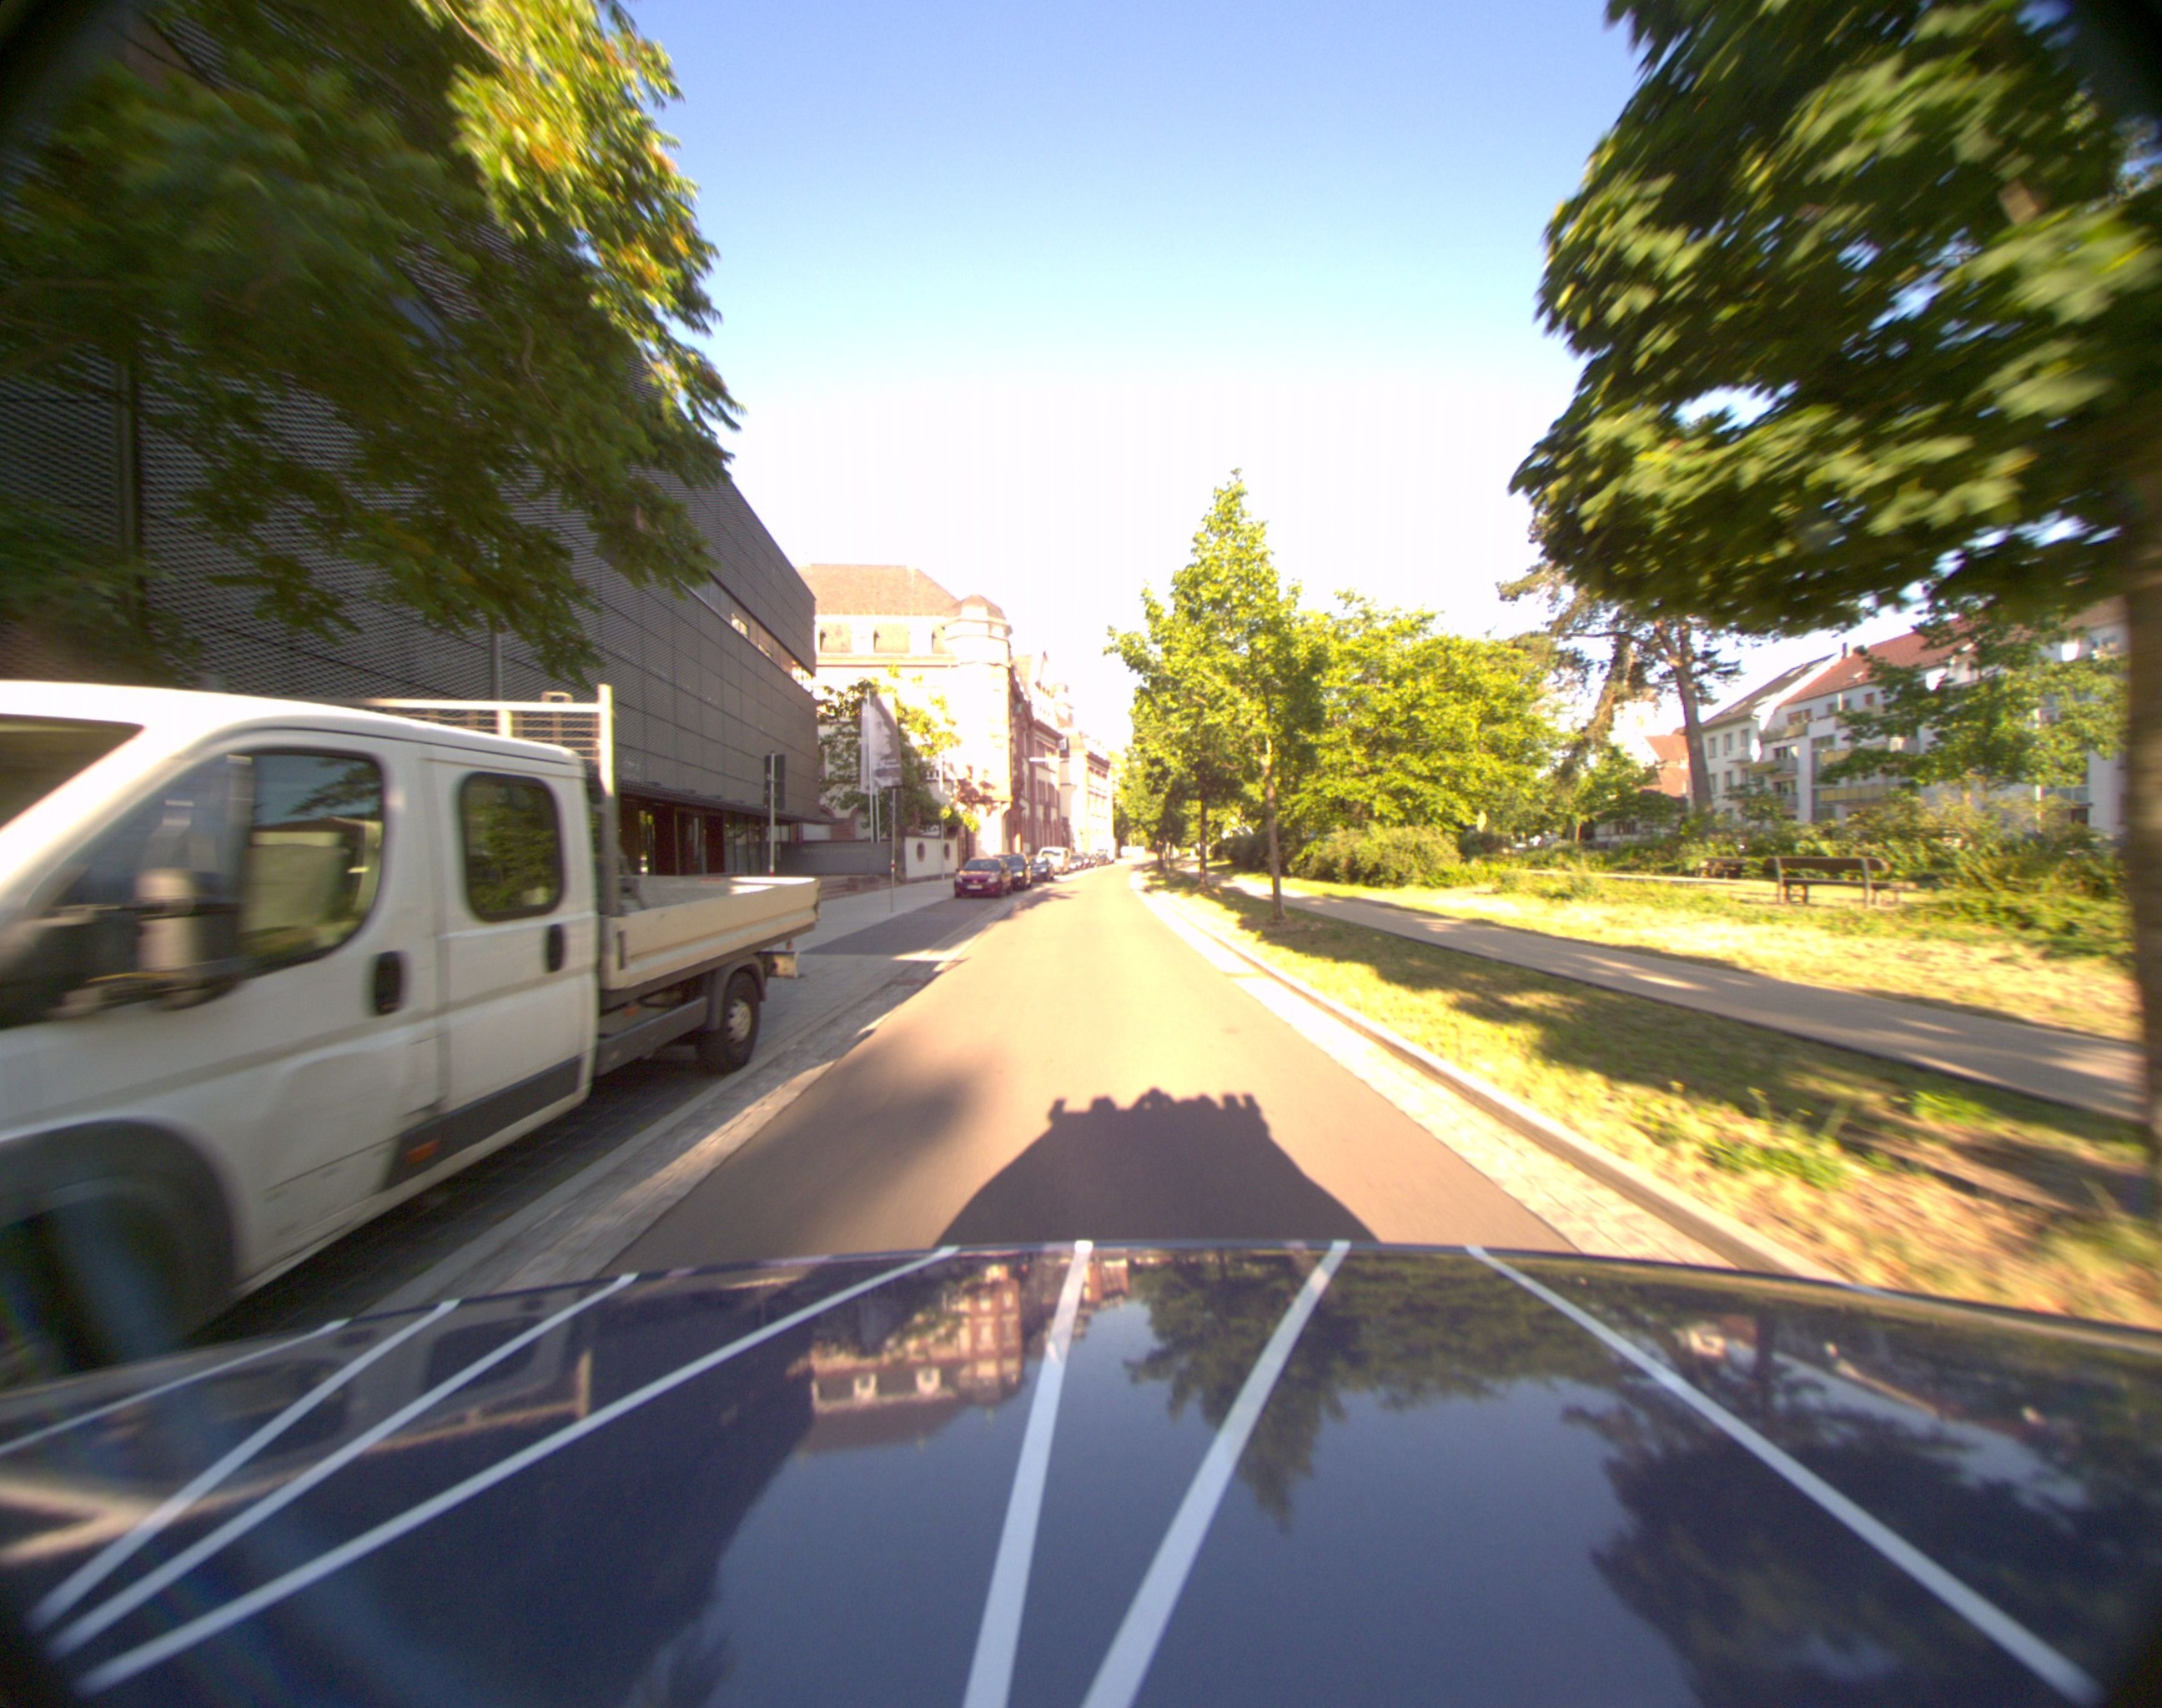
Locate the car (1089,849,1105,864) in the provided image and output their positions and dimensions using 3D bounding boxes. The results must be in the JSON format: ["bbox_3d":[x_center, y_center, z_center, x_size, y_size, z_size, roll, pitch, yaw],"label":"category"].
[{"bbox_3d":[1.772,0.263,82.808,1.583,1.499,3.847,-1,1,4],"label":"car"}]

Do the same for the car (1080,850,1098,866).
[{"bbox_3d":[0.822,0.399,75.804,1.583,1.499,3.847,-1,1,4],"label":"car"}]

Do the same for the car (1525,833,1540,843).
[{"bbox_3d":[77.712,-2.741,130.867,1.886,1.565,4.606,0,3,28],"label":"car"}]

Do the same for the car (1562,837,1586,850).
[{"bbox_3d":[62.979,-1.377,97.140,1.886,1.565,4.605,0,3,24],"label":"car"}]

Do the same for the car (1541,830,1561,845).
[{"bbox_3d":[69.769,-2.499,112.926,1.886,2.114,4.605,0,3,24],"label":"car"}]

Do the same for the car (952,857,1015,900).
[{"bbox_3d":[-3.436,0.839,27.352,1.610,1.349,3.548,-1,1,2],"label":"car"}]

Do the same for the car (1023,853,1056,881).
[{"bbox_3d":[-2.315,0.726,43.223,1.509,1.437,3.730,-1,1,2],"label":"car"}]

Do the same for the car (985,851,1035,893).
[{"bbox_3d":[-2.997,0.722,32.860,1.610,1.608,3.950,-1,1,2],"label":"car"}]

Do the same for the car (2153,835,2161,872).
[{"bbox_3d":[45.782,0.052,29.575,1.888,1.565,4.600,-1,2,7],"label":"car"}]

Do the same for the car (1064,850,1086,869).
[{"bbox_3d":[-0.489,0.461,64.875,1.583,1.499,3.847,-1,1,3],"label":"car"}]

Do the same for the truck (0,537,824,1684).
[{"bbox_3d":[-3.520,0.542,3.884,2.134,2.549,6.874,-1,1,-1],"label":"truck"}]

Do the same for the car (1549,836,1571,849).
[{"bbox_3d":[66.151,-1.622,104.948,1.886,1.565,4.605,0,3,24],"label":"car"}]

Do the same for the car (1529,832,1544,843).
[{"bbox_3d":[74.887,-2.701,124.969,1.886,1.565,4.605,0,3,27],"label":"car"}]

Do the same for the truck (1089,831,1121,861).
[{"bbox_3d":[3.029,-1.019,92.421,3.018,3.423,7.626,-1,1,8],"label":"truck"}]

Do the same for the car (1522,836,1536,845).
[{"bbox_3d":[85.303,-2.594,144.712,1.886,1.565,4.605,0,3,27],"label":"car"}]

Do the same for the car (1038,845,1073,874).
[{"bbox_3d":[-1.803,0.364,55.703,2.119,1.942,4.761,-1,1,4],"label":"car"}]

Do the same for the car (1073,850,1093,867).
[{"bbox_3d":[0.228,0.385,70.746,1.583,1.499,3.847,-1,1,4],"label":"car"}]
